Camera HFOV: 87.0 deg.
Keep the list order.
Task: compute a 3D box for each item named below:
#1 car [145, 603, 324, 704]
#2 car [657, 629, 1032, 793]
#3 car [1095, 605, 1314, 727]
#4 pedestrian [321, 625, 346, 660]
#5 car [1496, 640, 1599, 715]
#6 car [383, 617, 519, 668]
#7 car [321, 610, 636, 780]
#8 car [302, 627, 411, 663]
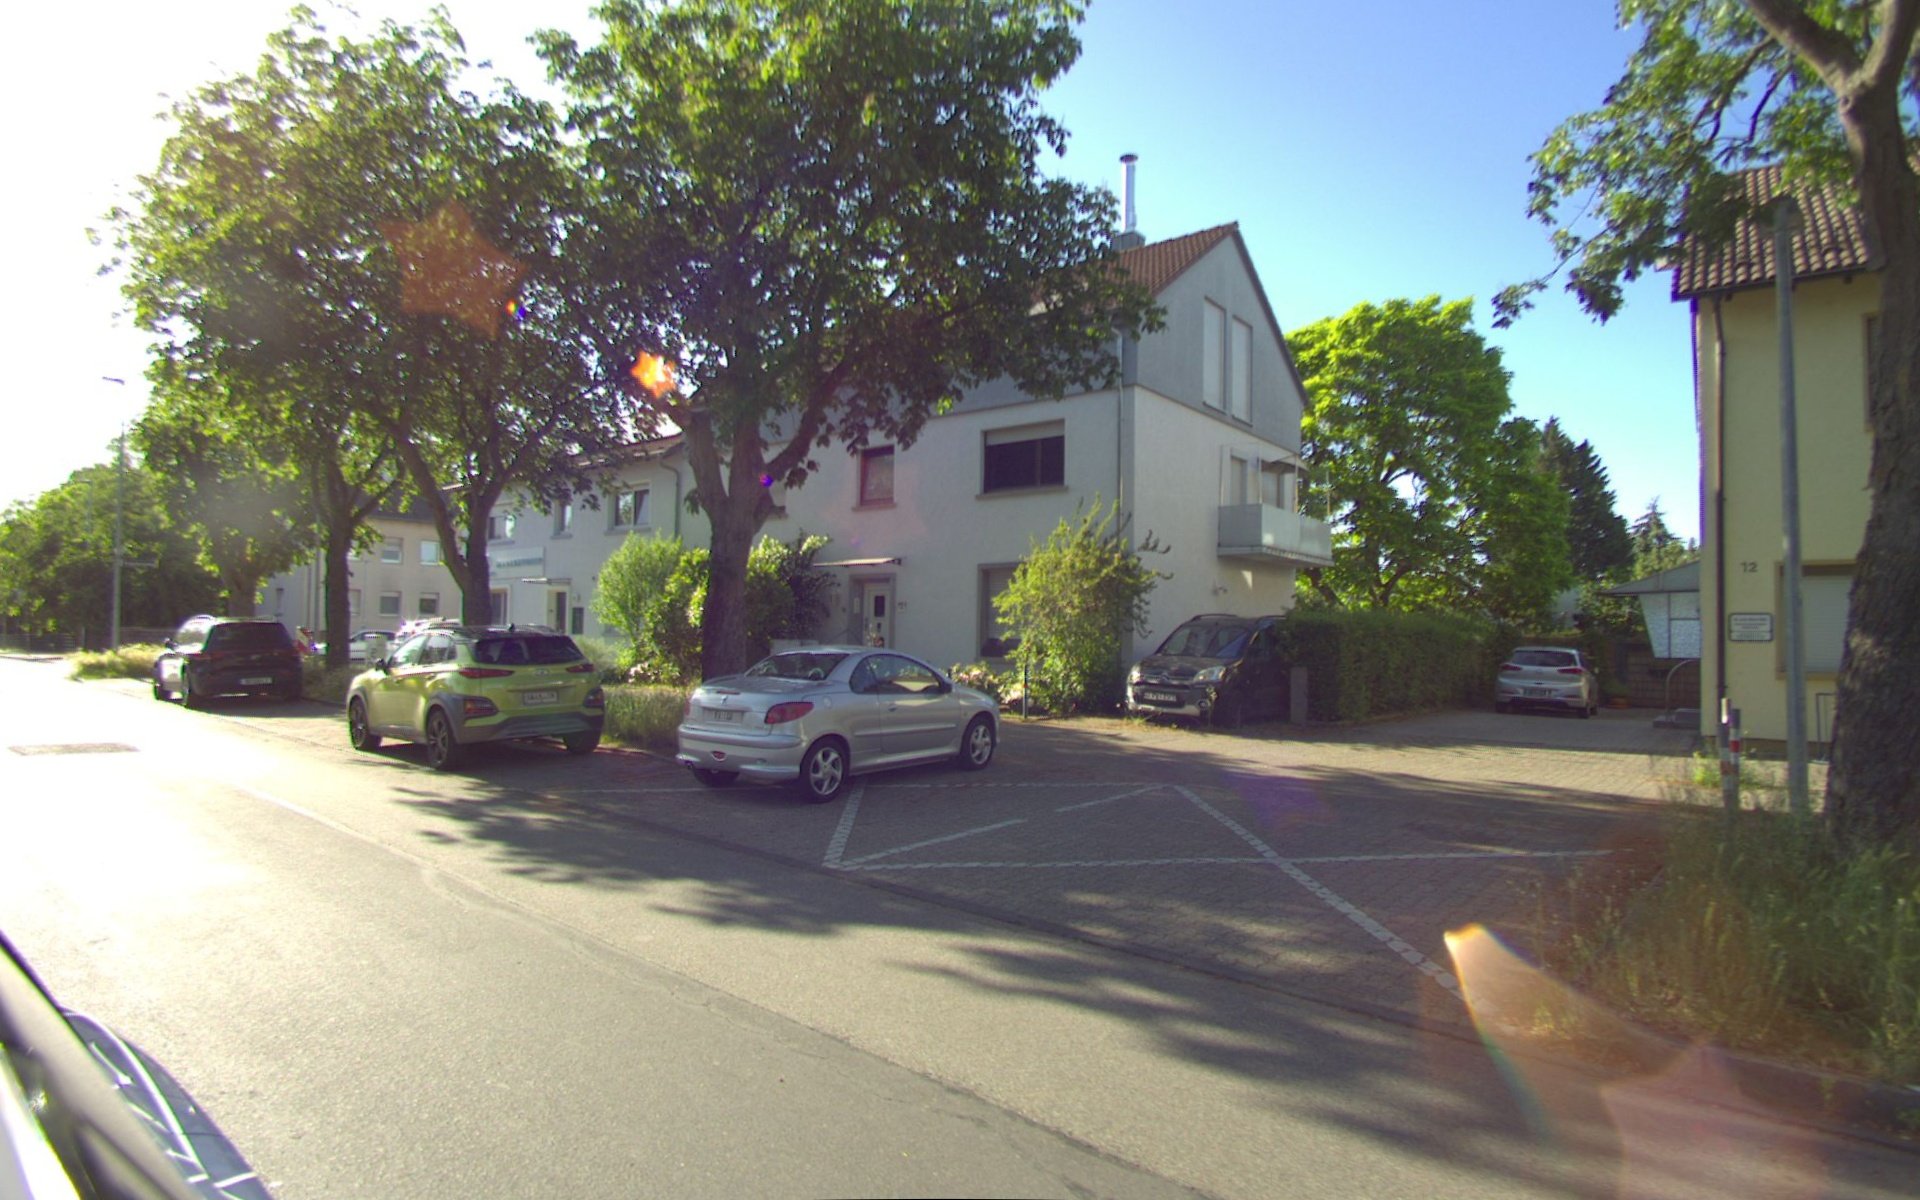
[{"bbox_3d":[-14.312,1.014,19.853,4.874,1.740,1.932,-3,-2,43],"label":"car"},{"bbox_3d":[-1.021,0.995,10.358,1.610,1.311,3.726,-3,-3,40],"label":"car"},{"bbox_3d":[4.122,0.994,16.578,1.996,1.727,4.195,-3,-2,36],"label":"car"},{"bbox_3d":[-28.292,1.927,45.720,0.638,1.565,0.776,-3,-3,38],"label":"pedestrian"},{"bbox_3d":[13.048,1.648,22.365,1.756,1.475,3.955,-1,-3,33],"label":"car"},{"bbox_3d":[-20.173,1.736,40.274,1.997,1.852,4.445,-5,-5,38],"label":"car"},{"bbox_3d":[-5.872,0.950,12.088,4.383,1.621,1.918,0,-1,43],"label":"car"},{"bbox_3d":[-26.614,2.022,44.731,1.869,1.490,3.729,-4,-5,39],"label":"car"}]
